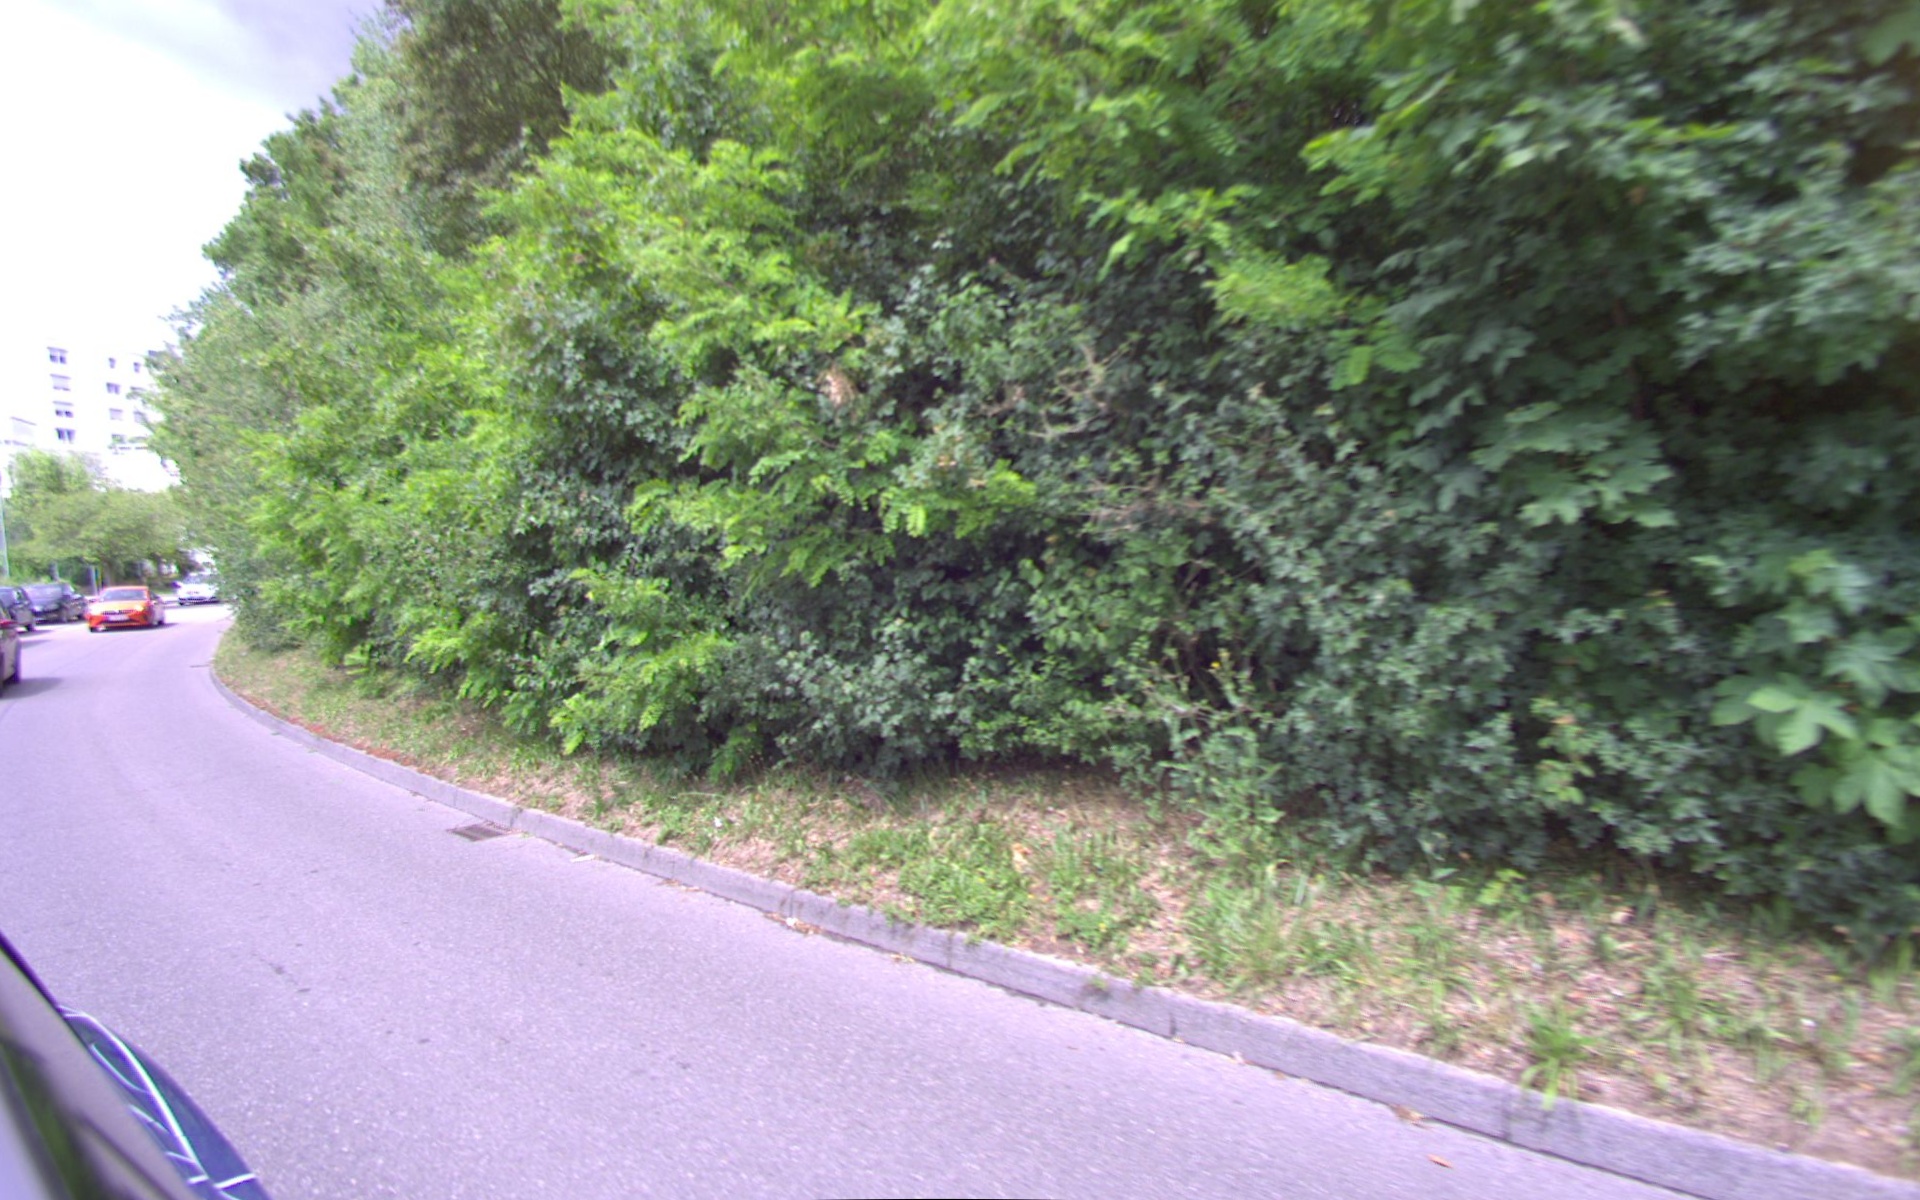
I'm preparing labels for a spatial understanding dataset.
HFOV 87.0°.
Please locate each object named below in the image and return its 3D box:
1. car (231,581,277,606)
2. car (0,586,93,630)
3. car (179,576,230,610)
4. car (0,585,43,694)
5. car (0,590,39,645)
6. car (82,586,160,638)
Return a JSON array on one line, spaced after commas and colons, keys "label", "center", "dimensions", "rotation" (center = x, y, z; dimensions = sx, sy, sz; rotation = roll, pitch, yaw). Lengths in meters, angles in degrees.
[{"label": "car", "center": [-44.805, -0.403, 64.215], "dimensions": [1.755, 1.430, 4.005], "rotation": [-7, 4, -42]}, {"label": "car", "center": [-34.559, 0.259, 38.313], "dimensions": [1.751, 1.445, 4.347], "rotation": [-3, 3, -29]}, {"label": "car", "center": [-38.844, -0.406, 52.092], "dimensions": [1.752, 1.462, 4.012], "rotation": [-5, 5, -33]}, {"label": "car", "center": [-16.278, 0.647, 16.100], "dimensions": [1.783, 1.621, 3.734], "rotation": [-1, 3, -31]}, {"label": "car", "center": [-30.793, 0.537, 32.083], "dimensions": [1.705, 1.530, 3.900], "rotation": [-3, 4, -33]}, {"label": "car", "center": [-28.525, 0.347, 34.507], "dimensions": [1.834, 1.453, 4.008], "rotation": [-6, 6, -38]}]
